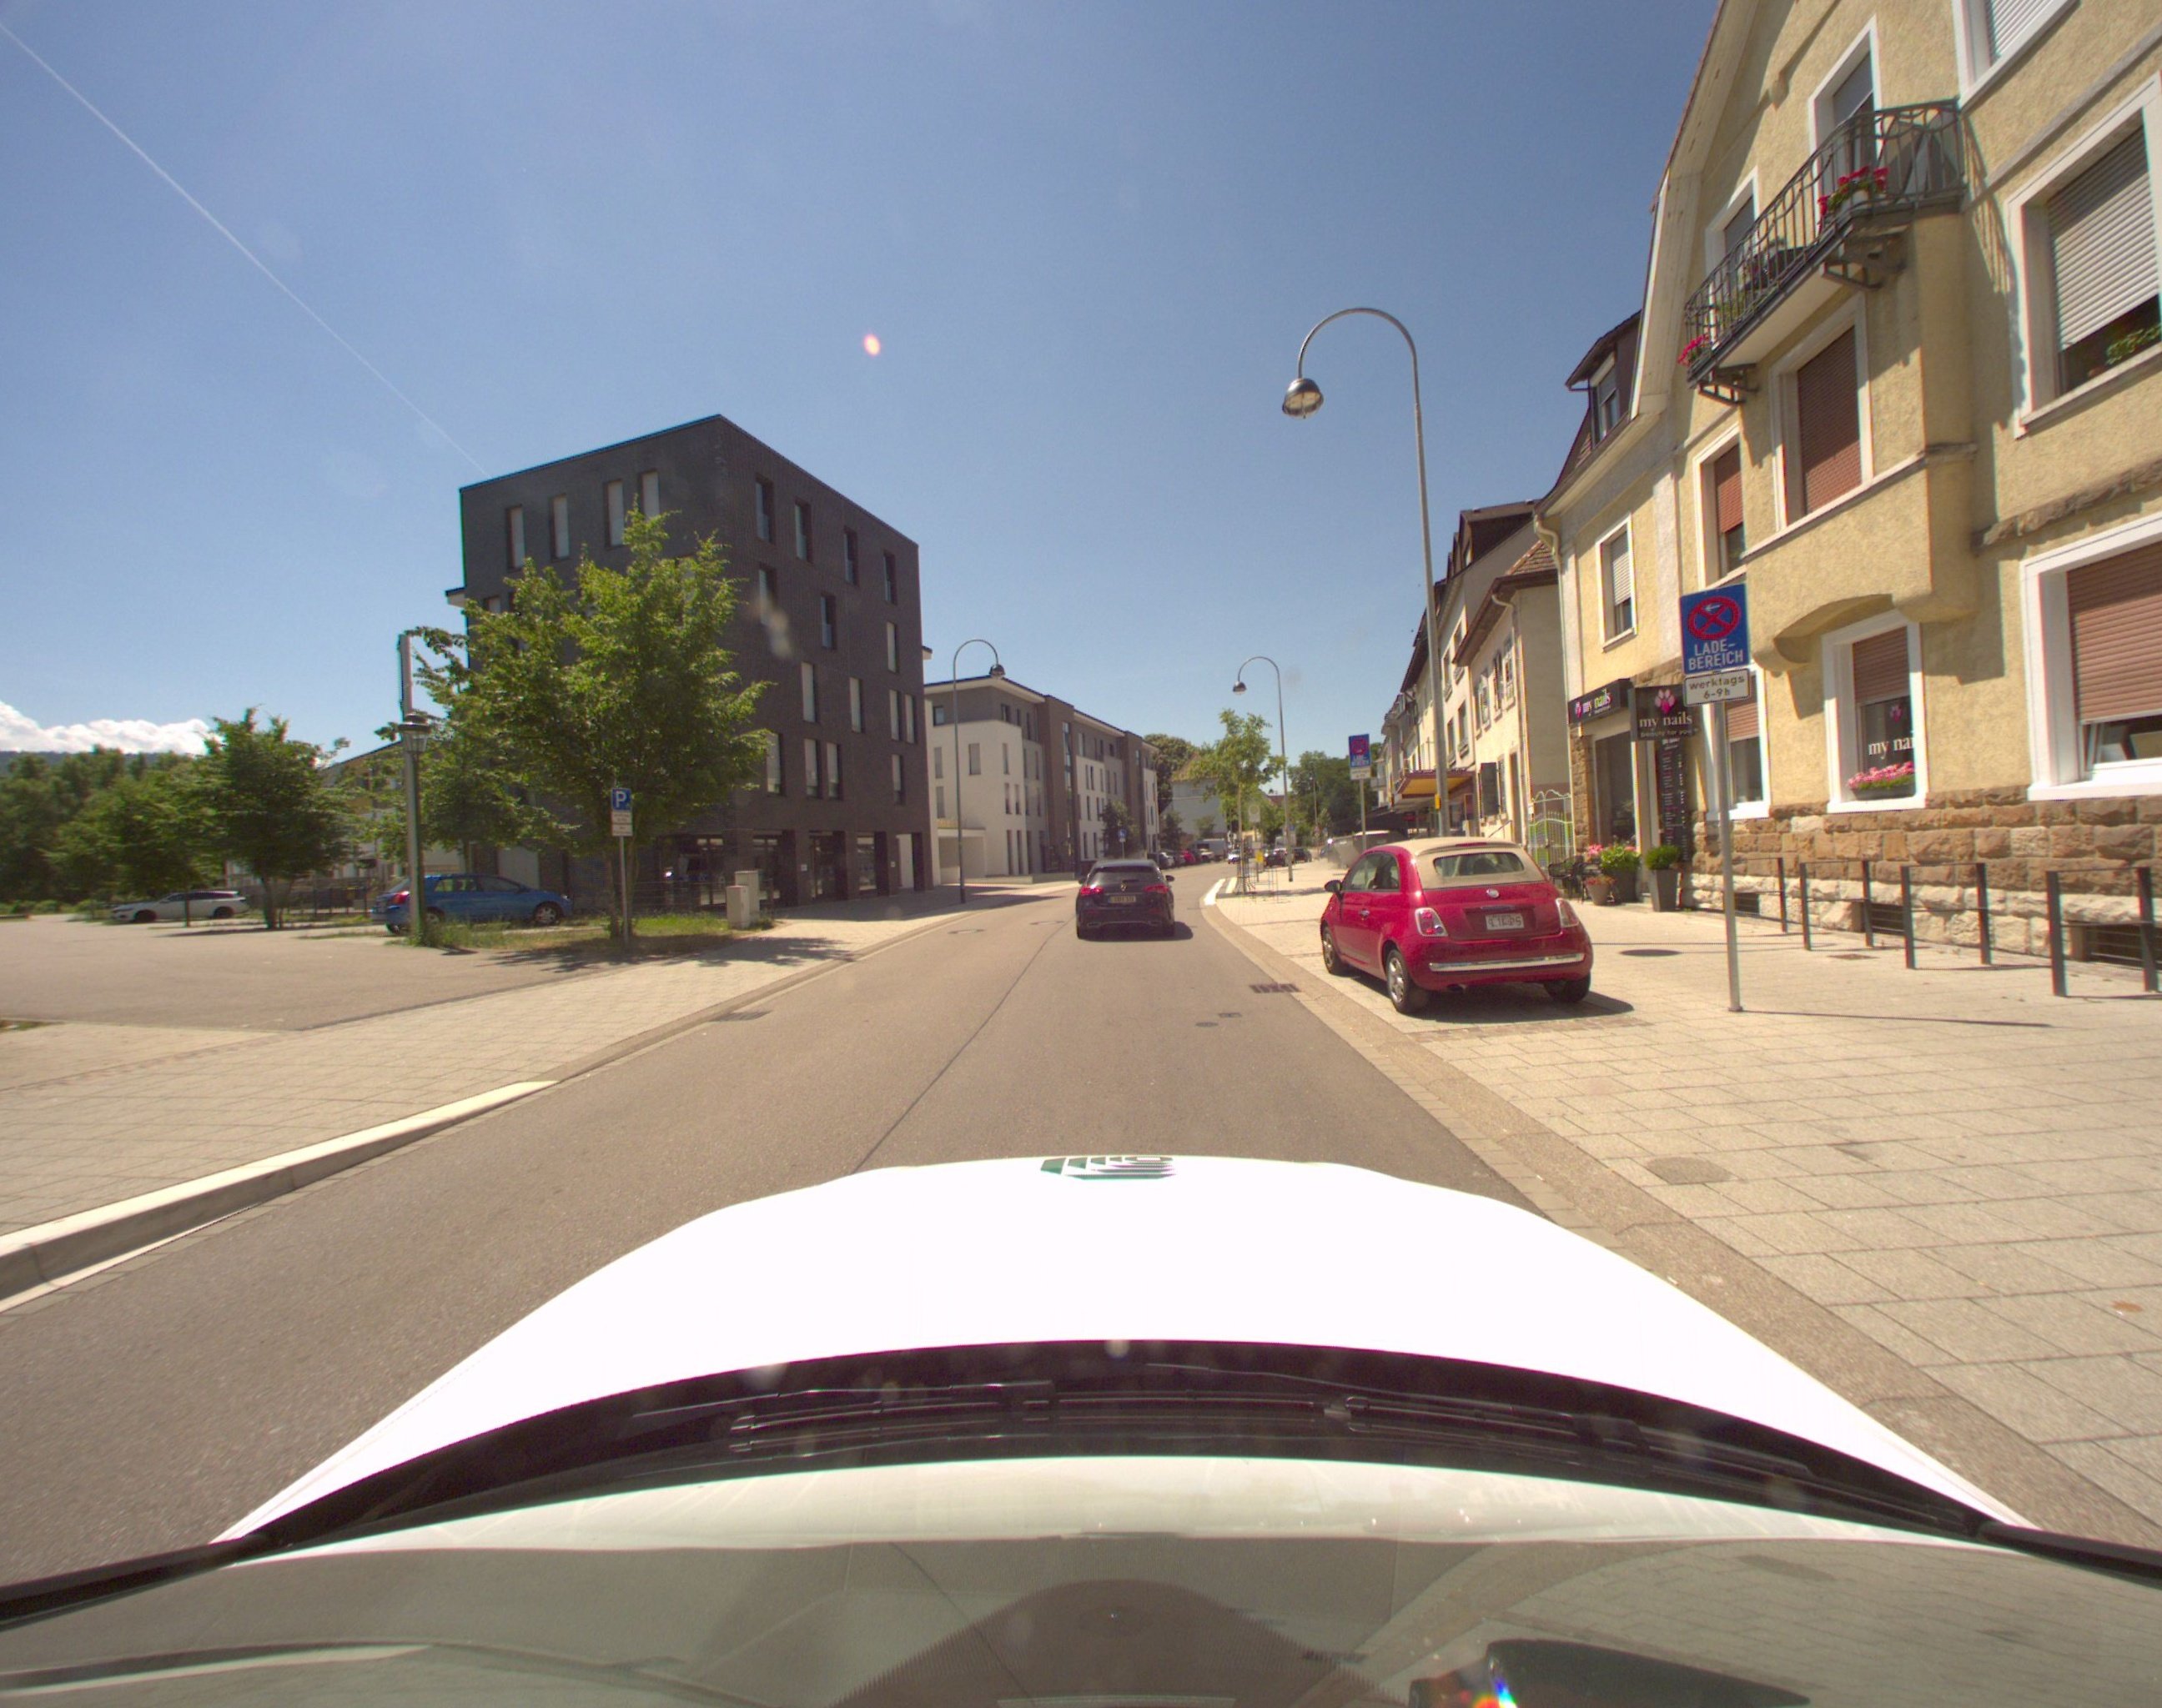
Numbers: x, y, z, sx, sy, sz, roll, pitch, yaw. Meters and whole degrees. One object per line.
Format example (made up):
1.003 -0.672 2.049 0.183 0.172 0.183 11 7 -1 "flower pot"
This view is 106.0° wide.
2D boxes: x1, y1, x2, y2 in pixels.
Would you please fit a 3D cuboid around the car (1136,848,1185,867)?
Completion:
7.383 0.335 75.613 3.997 1.651 2.011 -1 0 21 "car"

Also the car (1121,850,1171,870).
5.708 0.529 71.244 3.953 1.515 2.011 -1 2 20 "car"

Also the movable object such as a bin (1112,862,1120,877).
2.486 1.098 58.063 0.479 0.998 0.590 -2 0 12 "movable object such as a bin"

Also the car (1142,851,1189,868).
8.149 0.513 78.339 3.997 1.496 2.011 -1 0 21 "car"

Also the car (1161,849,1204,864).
10.588 0.275 84.853 4.168 1.437 1.894 -1 0 15 "car"

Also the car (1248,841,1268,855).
22.653 -0.720 103.985 1.926 1.658 4.256 -2 0 19 "car"

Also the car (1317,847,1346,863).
27.256 0.113 88.478 1.853 1.491 3.887 -4 1 33 "car"

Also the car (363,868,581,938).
-15.475 1.202 20.906 1.678 1.486 4.106 -4 -1 33 "car"

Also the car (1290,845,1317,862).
21.442 -0.061 78.421 1.709 1.405 4.635 -4 -1 23 "car"

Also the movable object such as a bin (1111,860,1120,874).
2.610 0.983 61.118 0.550 1.020 0.562 -2 0 15 "movable object such as a bin"

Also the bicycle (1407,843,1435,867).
17.327 0.066 41.468 1.258 1.184 0.417 -1 -1 27 "bicycle"

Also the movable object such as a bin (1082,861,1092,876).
0.452 1.058 60.679 0.689 1.095 0.648 -2 0 2 "movable object such as a bin"

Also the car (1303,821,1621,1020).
3.576 0.546 8.360 1.673 1.514 3.388 -4 0 2 "car"

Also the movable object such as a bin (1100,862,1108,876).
1.668 1.091 58.752 0.400 0.998 0.558 -2 0 18 "movable object such as a bin"

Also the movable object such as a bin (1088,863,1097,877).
0.822 1.131 58.336 0.479 0.998 0.529 -2 0 19 "movable object such as a bin"

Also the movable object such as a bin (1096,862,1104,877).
1.362 1.119 58.257 0.421 0.998 0.526 -2 0 19 "movable object such as a bin"

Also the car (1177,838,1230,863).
14.251 -0.433 94.598 5.719 2.732 2.303 -1 0 20 "car"

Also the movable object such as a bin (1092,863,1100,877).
1.083 1.169 58.856 0.400 0.998 0.558 -2 0 18 "movable object such as a bin"

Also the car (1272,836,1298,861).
23.099 -0.632 92.157 2.109 2.630 5.305 -2 0 21 "car"

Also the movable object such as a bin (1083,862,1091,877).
0.429 1.118 59.165 0.479 0.998 0.590 -2 0 12 "movable object such as a bin"

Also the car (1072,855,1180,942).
0.763 0.780 16.120 1.822 1.442 3.998 -2 0 -1 "car"

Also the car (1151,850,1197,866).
9.180 0.392 80.286 3.997 1.430 2.011 -1 0 21 "car"

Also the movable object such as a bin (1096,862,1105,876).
1.483 1.123 60.720 0.617 1.039 0.583 -2 0 2 "movable object such as a bin"

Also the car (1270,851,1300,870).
18.306 0.529 72.932 1.721 1.486 4.078 -5 -1 25 "car"

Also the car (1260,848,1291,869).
15.973 0.347 66.823 1.817 1.482 4.116 -5 -2 21 "car"

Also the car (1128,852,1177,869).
6.450 0.598 73.258 3.953 1.421 1.919 -1 0 20 "car"

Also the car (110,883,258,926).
-45.859 2.550 41.764 1.974 1.862 4.814 -2 -1 33 "car"

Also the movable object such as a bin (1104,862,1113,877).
1.963 1.107 58.370 0.479 0.998 0.591 -2 0 18 "movable object such as a bin"

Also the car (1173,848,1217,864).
12.609 0.221 89.931 4.417 1.591 2.010 -1 0 19 "car"

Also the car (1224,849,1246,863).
16.136 0.226 85.108 1.653 1.396 3.866 -2 0 18 "car"
